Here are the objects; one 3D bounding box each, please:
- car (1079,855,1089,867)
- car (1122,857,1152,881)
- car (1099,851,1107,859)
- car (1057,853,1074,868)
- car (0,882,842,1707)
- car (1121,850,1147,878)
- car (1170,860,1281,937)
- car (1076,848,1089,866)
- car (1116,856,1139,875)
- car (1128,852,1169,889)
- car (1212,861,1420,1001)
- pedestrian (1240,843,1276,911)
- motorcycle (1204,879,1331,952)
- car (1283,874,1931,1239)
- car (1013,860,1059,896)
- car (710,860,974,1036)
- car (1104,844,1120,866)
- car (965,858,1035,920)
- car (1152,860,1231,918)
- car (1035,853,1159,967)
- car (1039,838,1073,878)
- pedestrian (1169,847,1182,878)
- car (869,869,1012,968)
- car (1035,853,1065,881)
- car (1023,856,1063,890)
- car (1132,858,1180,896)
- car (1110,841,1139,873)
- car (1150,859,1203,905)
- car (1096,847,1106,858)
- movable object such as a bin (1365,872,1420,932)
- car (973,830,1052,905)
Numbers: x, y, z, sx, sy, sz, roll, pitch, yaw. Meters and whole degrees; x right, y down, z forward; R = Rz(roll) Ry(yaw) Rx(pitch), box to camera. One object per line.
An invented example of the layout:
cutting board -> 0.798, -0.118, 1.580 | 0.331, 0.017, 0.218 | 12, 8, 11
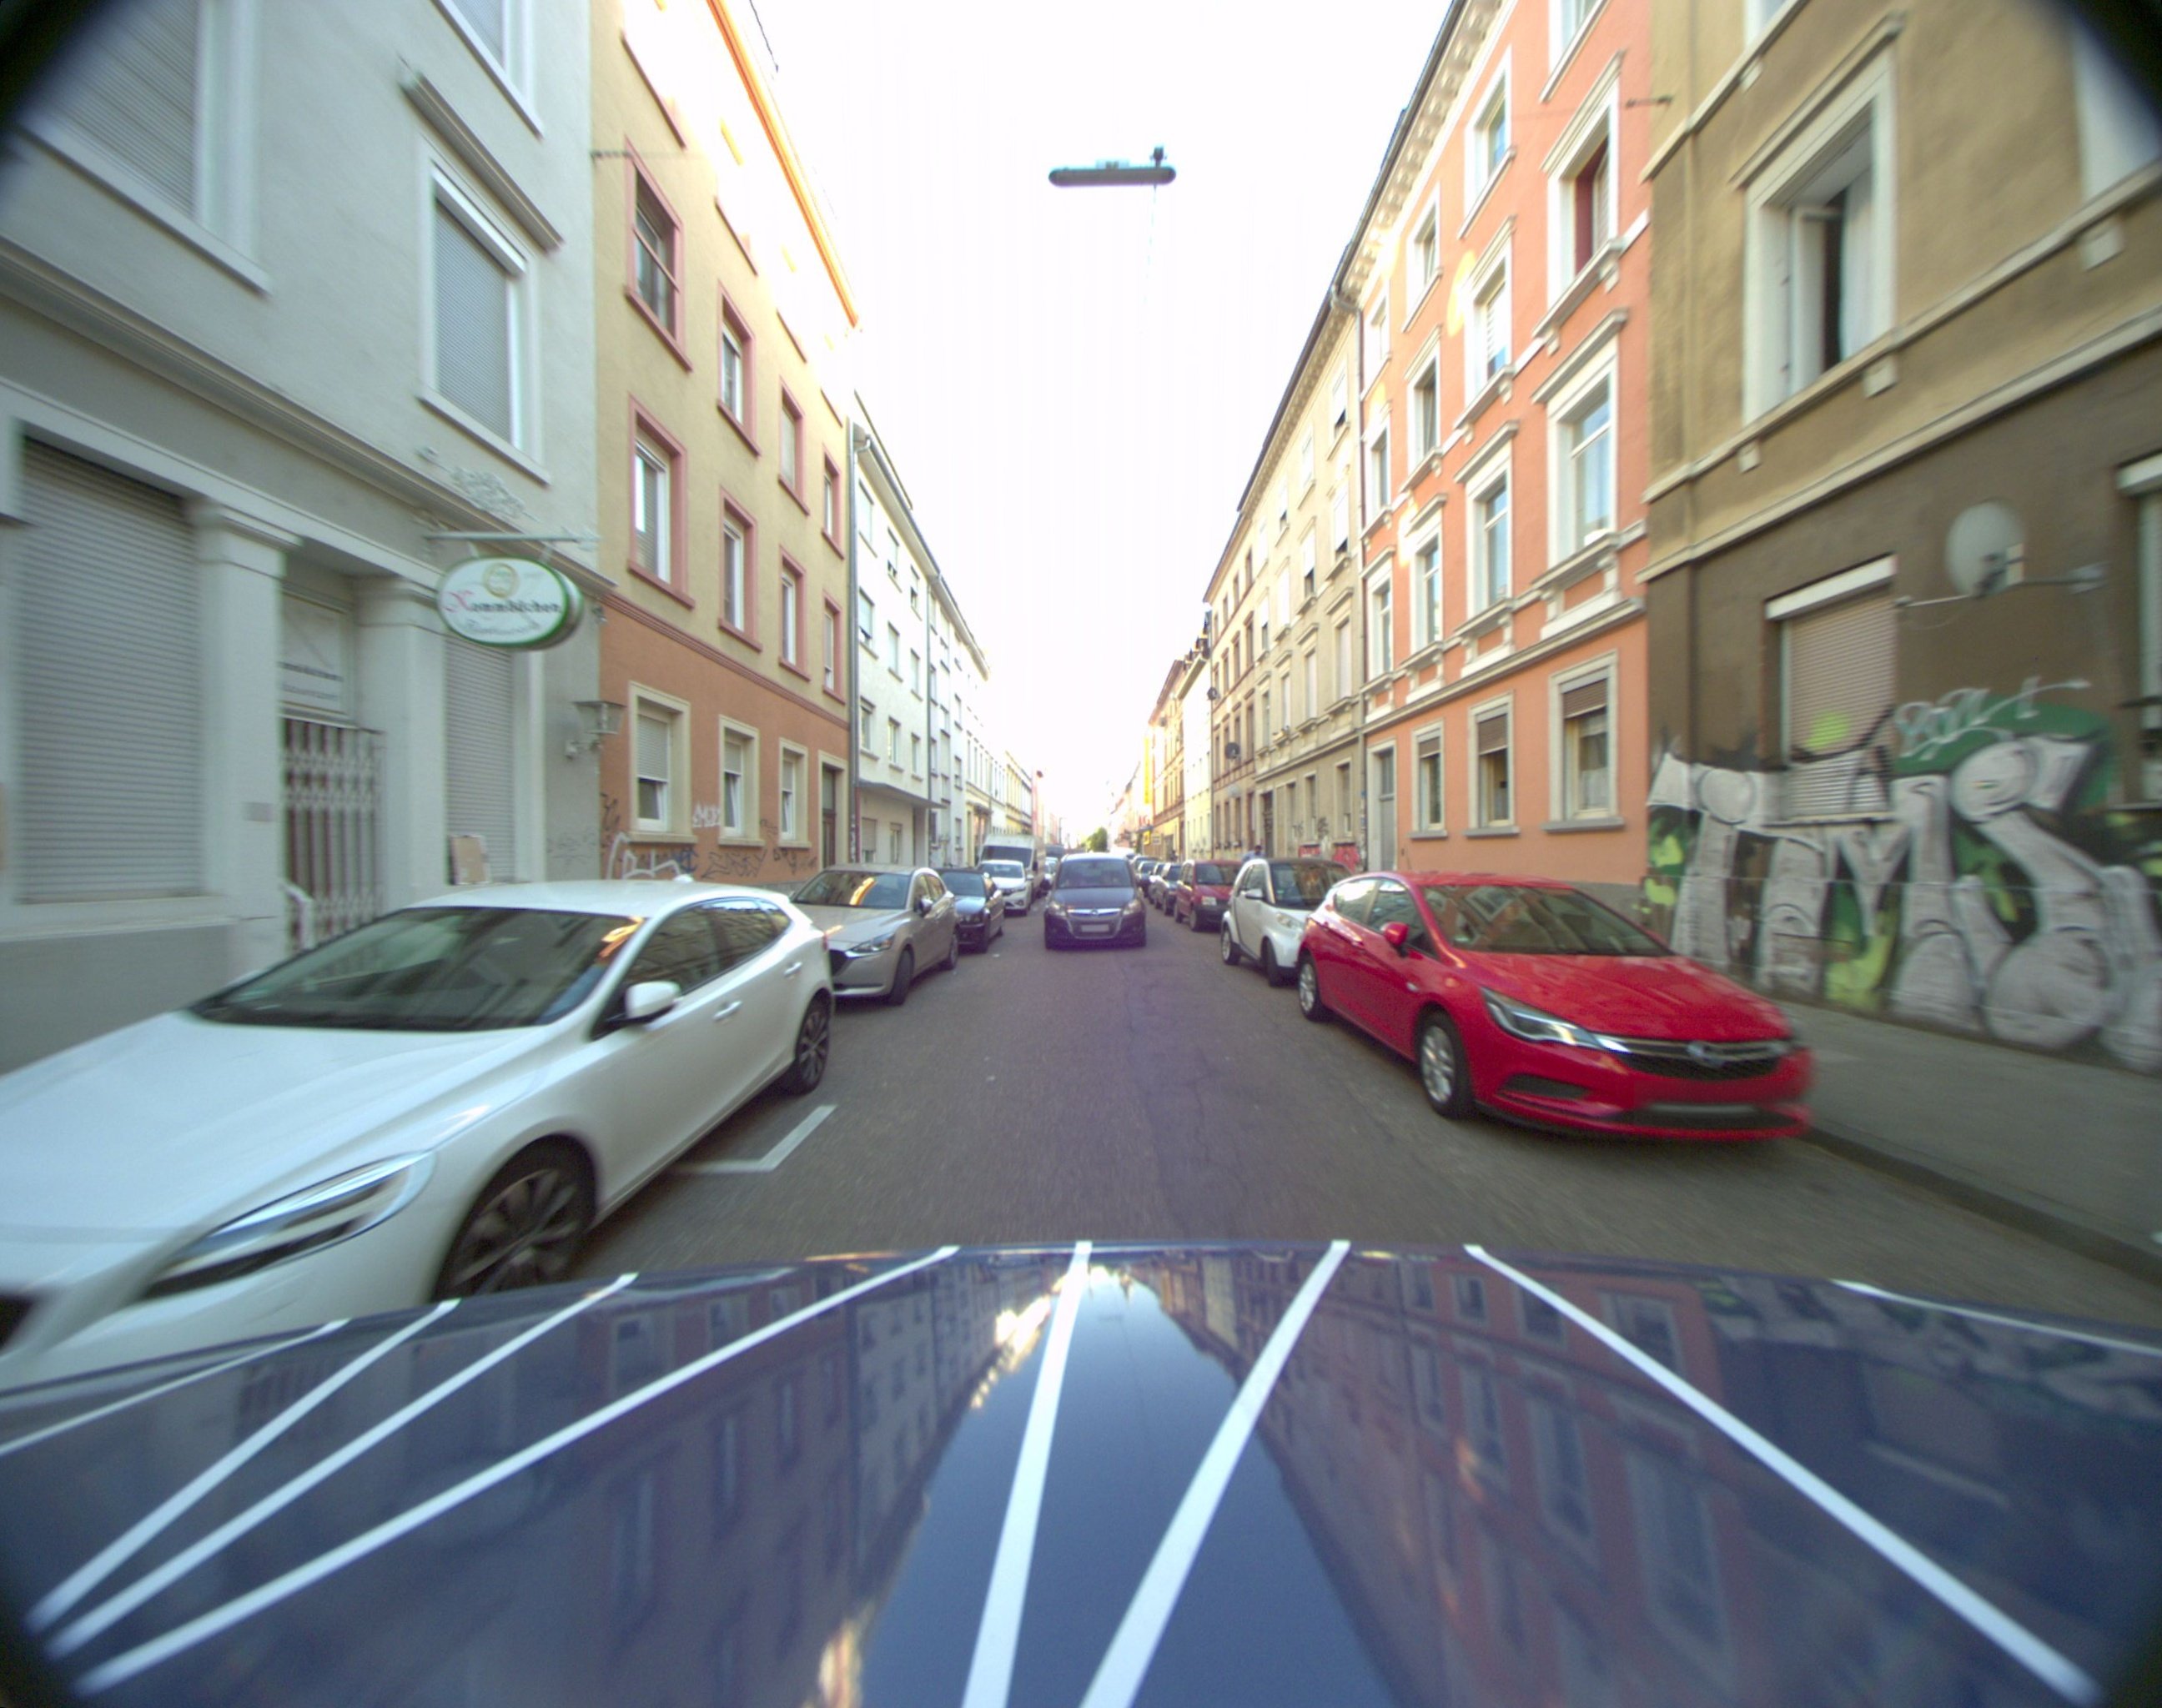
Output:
car -> 0.542, 1.283, 144.154 | 1.683, 2.077, 4.159 | -2, 0, 1
car -> 3.470, 0.930, 47.679 | 1.683, 1.407, 3.860 | -1, 0, 1
car -> 5.386, 0.205, 186.193 | 1.683, 1.851, 4.159 | -2, 0, 1
car -> -1.615, 0.709, 82.588 | 1.683, 1.588, 3.860 | -2, 0, 1
car -> -2.647, 0.991, 3.555 | 1.683, 1.501, 4.190 | -2, 0, 0
car -> 3.733, 0.690, 54.389 | 1.751, 1.880, 4.772 | -1, 0, 3
car -> 3.071, 0.903, 16.878 | 1.683, 1.483, 3.611 | -1, 0, -2
car -> 0.397, 0.541, 151.017 | 2.437, 3.404, 5.543 | -2, 0, 1
car -> 3.626, 0.858, 59.673 | 1.683, 1.381, 3.860 | -1, 0, 1
car -> 3.224, 0.773, 36.942 | 1.683, 1.674, 3.860 | -1, 0, 1
car -> 2.910, 0.887, 10.034 | 1.684, 1.540, 2.959 | 0, 0, -3
pedestrian -> 4.831, 0.622, 20.786 | 0.790, 1.820, 0.594 | -2, 1, 1
motorcycle -> 3.328, 1.058, 13.564 | 2.083, 1.121, 0.789 | -2, 1, -21
car -> 2.889, 0.957, 5.469 | 1.683, 1.465, 4.202 | 1, 0, -1
car -> -1.939, 1.020, 33.821 | 1.683, 1.434, 3.860 | -2, 0, 1
car -> -2.592, 0.926, 9.369 | 1.683, 1.588, 4.191 | -2, 0, 3
car -> 3.564, 0.117, 87.027 | 1.683, 2.352, 4.098 | -1, 0, 1
car -> -2.250, 0.936, 21.888 | 1.684, 1.550, 3.859 | -2, 0, -2
car -> 3.062, 0.925, 21.790 | 1.683, 1.454, 4.313 | -1, 0, 1
car -> 0.247, 0.835, 13.994 | 1.798, 1.652, 5.184 | -2, 0, 0
car -> -1.775, 0.279, 55.262 | 2.050, 2.662, 6.185 | -2, 0, 1
pedestrian -> 5.513, 0.492, 44.455 | 0.626, 1.820, 0.594 | -2, 1, 2
car -> -2.388, 1.047, 14.083 | 1.772, 1.386, 4.494 | -2, 0, 0
car -> -1.941, 0.812, 49.095 | 1.683, 1.626, 3.860 | -2, 0, 1
car -> -1.878, 0.928, 38.648 | 1.683, 1.556, 3.860 | -2, 0, 1
car -> 3.116, 0.925, 32.120 | 1.683, 1.454, 3.860 | -1, 0, 1
car -> 3.708, 0.250, 65.711 | 2.094, 2.576, 5.842 | -1, 0, 0
car -> 3.296, 0.945, 26.770 | 1.682, 1.454, 3.861 | -1, 0, 5
car -> 5.766, -0.489, 216.281 | 2.565, 3.029, 7.061 | -2, 0, 1
movable object such as a bin -> 5.871, 0.897, 14.368 | 0.779, 1.043, 0.662 | -3, 0, 9
car -> -2.453, 0.448, 28.791 | 2.049, 2.498, 6.024 | -2, 0, 3
